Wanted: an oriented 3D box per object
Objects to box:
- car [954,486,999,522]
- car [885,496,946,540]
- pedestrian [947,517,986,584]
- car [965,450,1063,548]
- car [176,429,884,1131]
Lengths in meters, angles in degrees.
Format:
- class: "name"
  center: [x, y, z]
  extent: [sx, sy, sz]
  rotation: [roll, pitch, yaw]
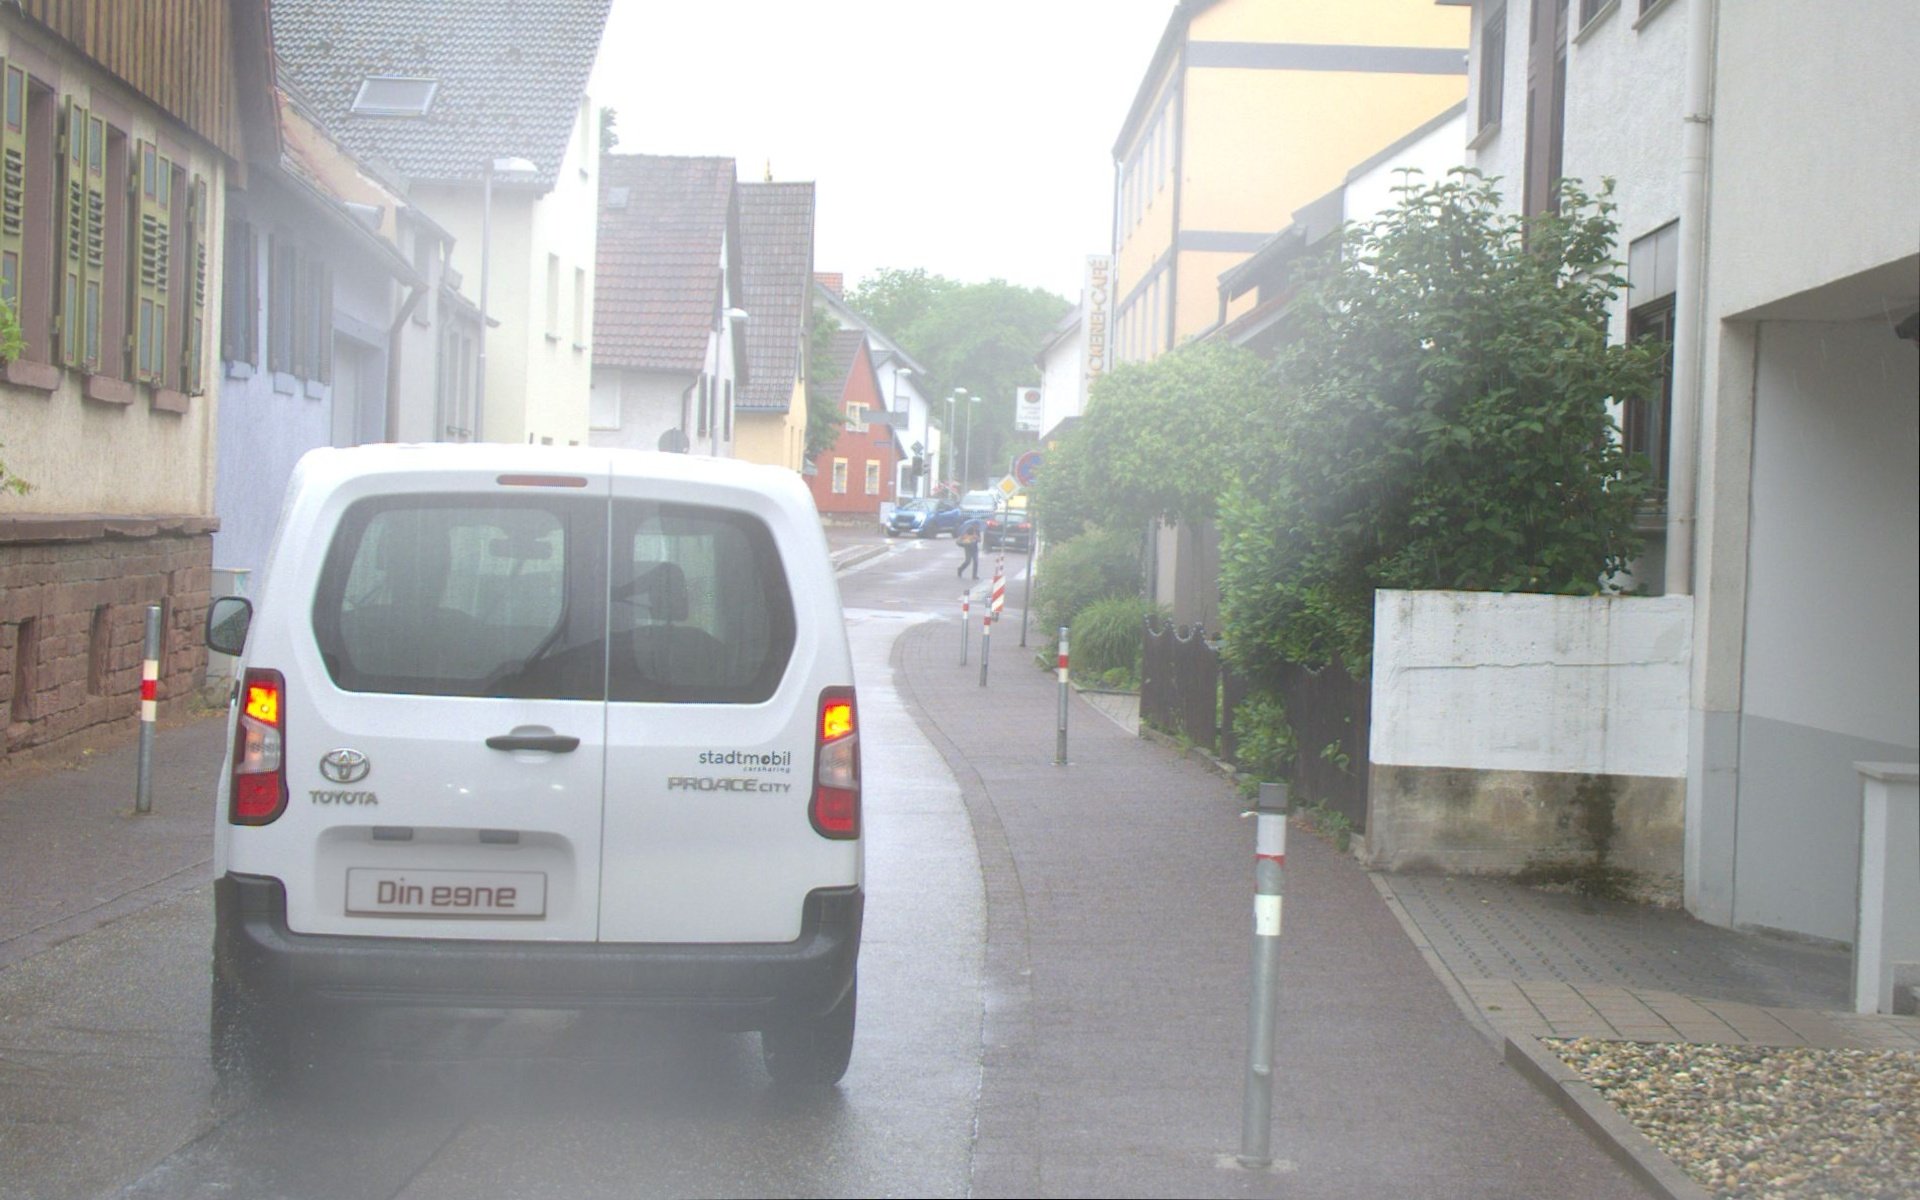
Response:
- class: "car"
  center: [0.740, -4.289, 153.594]
  extent: [1.589, 1.436, 3.765]
  rotation: [4, 1, 6]
- class: "car"
  center: [-1.701, -3.148, 132.000]
  extent: [1.994, 1.554, 3.431]
  rotation: [-1, 3, 5]
- class: "pedestrian"
  center: [0.194, -1.400, 97.185]
  extent: [1.050, 1.886, 0.877]
  rotation: [1, 1, -1]
- class: "car"
  center: [1.176, -2.127, 73.444]
  extent: [1.993, 2.007, 4.000]
  rotation: [1, 1, 2]
- class: "car"
  center: [-1.430, 0.431, 10.794]
  extent: [1.774, 1.774, 4.001]
  rotation: [1, 1, -10]
